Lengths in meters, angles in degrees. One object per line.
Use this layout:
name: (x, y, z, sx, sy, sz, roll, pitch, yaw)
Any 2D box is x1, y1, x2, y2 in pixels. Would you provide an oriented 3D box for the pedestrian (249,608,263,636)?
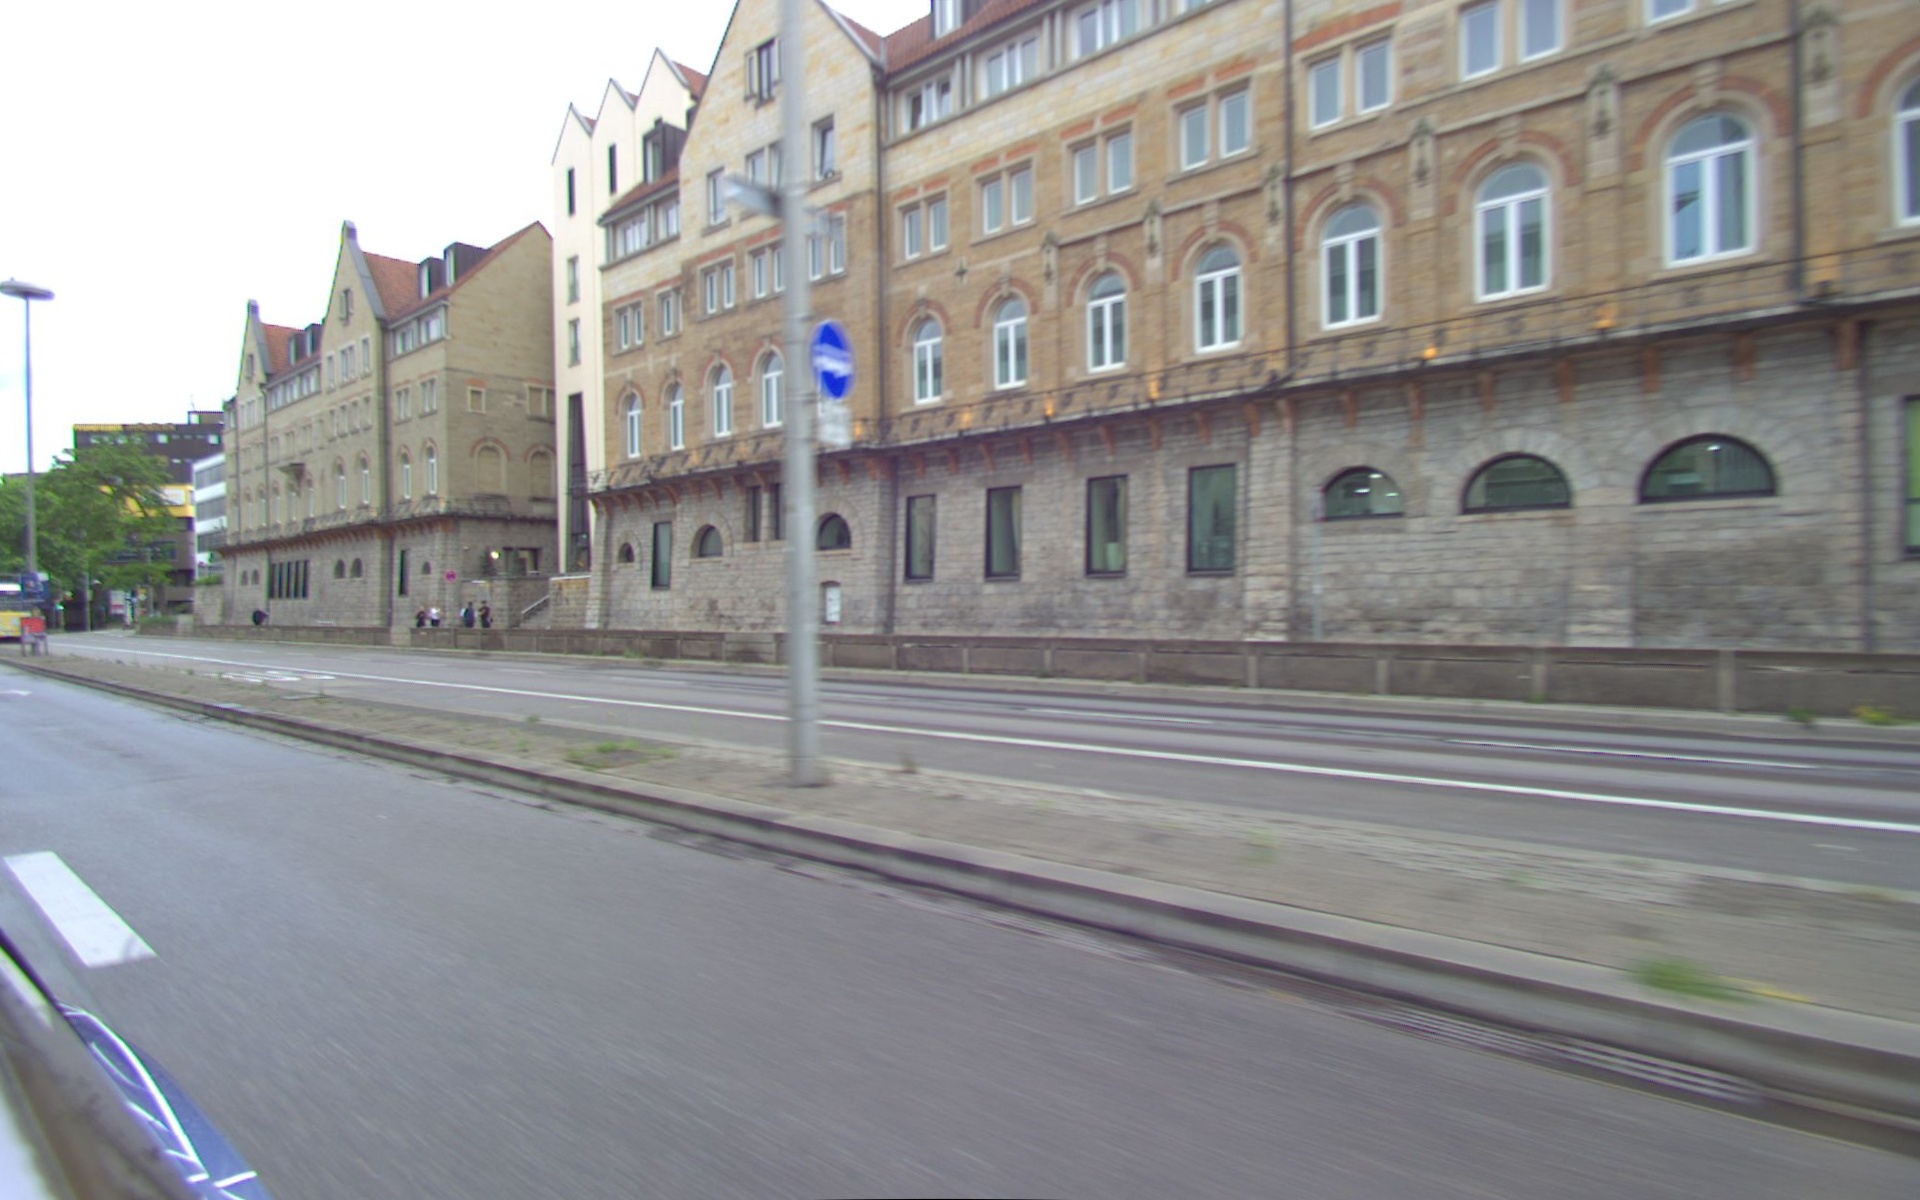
pedestrian: (-44.358, 1.381, 63.738, 0.631, 1.759, 0.623, -1, -2, -25)

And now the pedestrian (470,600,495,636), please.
pedestrian: (-20.651, 0.781, 43.782, 0.713, 1.489, 0.746, -3, -2, 40)

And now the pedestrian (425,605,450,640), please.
pedestrian: (-22.838, 0.990, 44.223, 0.713, 1.489, 0.746, -3, -2, 40)

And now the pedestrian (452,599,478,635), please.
pedestrian: (-20.848, 0.729, 42.652, 0.713, 1.489, 0.746, -3, -2, 40)

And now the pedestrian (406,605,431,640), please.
pedestrian: (-23.333, 0.977, 43.618, 0.713, 1.489, 0.746, -3, -2, 40)

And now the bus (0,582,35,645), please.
bus: (-58.027, 0.789, 60.648, 10.087, 3.586, 2.671, 0, -1, 41)
